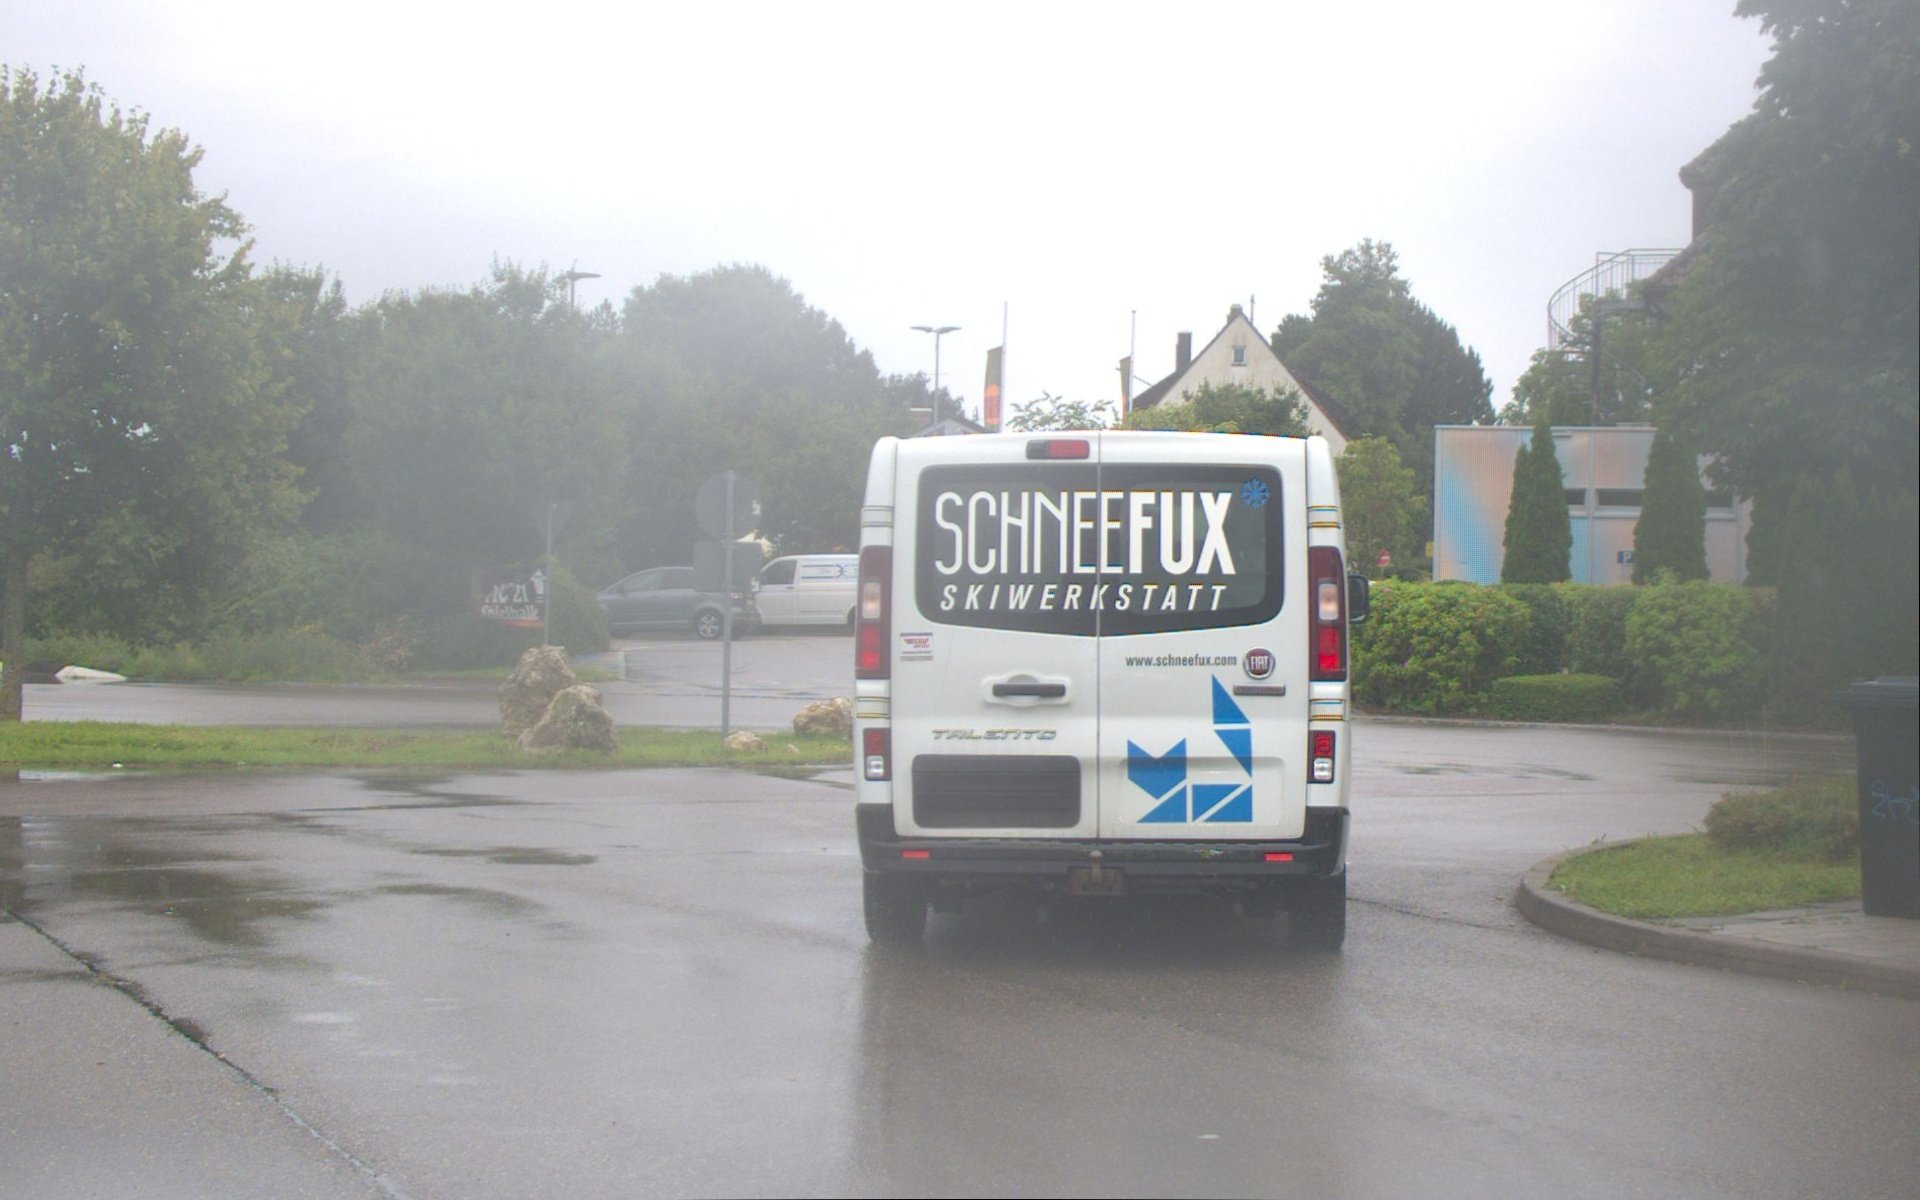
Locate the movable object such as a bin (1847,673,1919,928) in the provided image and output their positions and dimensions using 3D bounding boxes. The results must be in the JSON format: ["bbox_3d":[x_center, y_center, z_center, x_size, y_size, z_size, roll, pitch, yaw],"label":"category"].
[{"bbox_3d":[3.683,0.755,13.095,0.448,0.935,0.489,0,1,-4],"label":"movable object such as a bin"}]

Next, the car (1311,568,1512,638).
[{"bbox_3d":[9.844,0.057,74.914,4.178,1.492,1.717,0,1,15],"label":"car"}]

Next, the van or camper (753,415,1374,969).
[{"bbox_3d":[0.606,0.322,14.719,2.188,1.938,5.196,0,0,6],"label":"van or camper"}]

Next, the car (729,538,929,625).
[{"bbox_3d":[-3.156,-0.460,82.935,4.523,2.026,1.644,1,1,15],"label":"car"}]

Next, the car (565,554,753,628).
[{"bbox_3d":[-6.435,-0.206,73.512,3.734,1.545,1.450,1,1,15],"label":"car"}]
